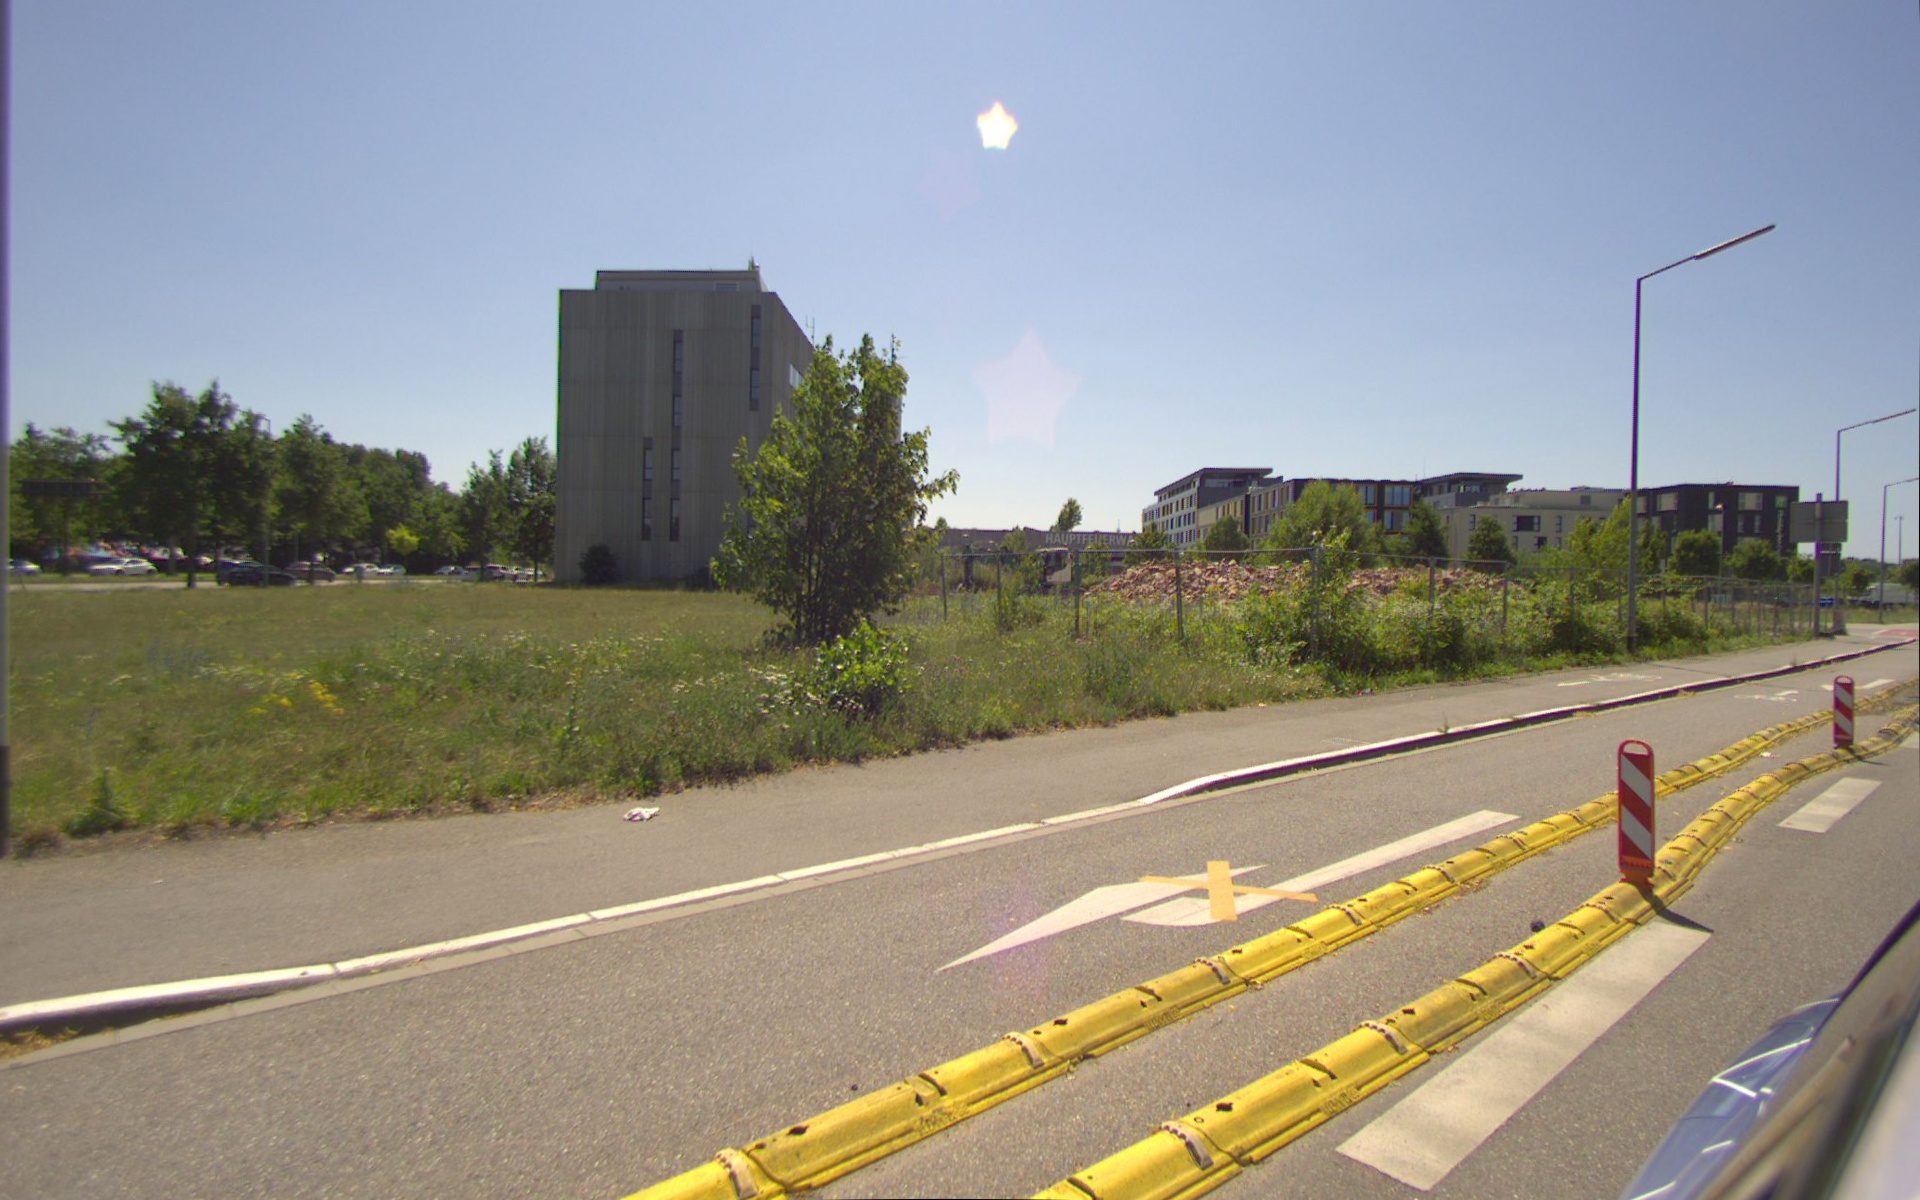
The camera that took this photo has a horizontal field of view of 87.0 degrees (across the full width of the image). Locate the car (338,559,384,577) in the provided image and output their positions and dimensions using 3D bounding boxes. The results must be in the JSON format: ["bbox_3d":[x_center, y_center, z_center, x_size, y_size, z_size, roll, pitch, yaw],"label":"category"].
[{"bbox_3d":[-58.283,-3.121,98.558,1.814,1.612,4.443,0,0,1],"label":"car"}]

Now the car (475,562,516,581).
[{"bbox_3d":[-45.285,-2.734,98.779,1.962,1.757,4.645,0,0,-1],"label":"car"}]

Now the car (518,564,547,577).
[{"bbox_3d":[-56.479,-3.890,133.758,1.814,1.612,4.443,0,0,1],"label":"car"}]

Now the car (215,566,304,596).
[{"bbox_3d":[-42.222,-1.140,61.130,1.964,1.757,4.639,0,0,4],"label":"car"}]

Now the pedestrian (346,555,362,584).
[{"bbox_3d":[-33.957,-1.721,56.709,0.652,1.611,0.557,0,0,-15],"label":"pedestrian"}]

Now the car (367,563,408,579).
[{"bbox_3d":[-61.599,-3.077,108.979,1.814,1.611,4.444,1,1,1],"label":"car"}]

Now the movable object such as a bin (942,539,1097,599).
[{"bbox_3d":[3.169,-1.583,53.322,7.537,2.952,3.242,-1,0,-26],"label":"movable object such as a bin"}]

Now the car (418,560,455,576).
[{"bbox_3d":[-58.840,-3.564,113.720,1.814,1.612,4.443,0,0,1],"label":"car"}]

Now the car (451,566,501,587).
[{"bbox_3d":[-42.298,-2.052,88.603,1.964,1.757,4.639,0,0,4],"label":"car"}]

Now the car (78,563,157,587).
[{"bbox_3d":[-59.073,-1.733,71.054,1.814,1.612,4.443,0,0,1],"label":"car"}]

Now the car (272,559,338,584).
[{"bbox_3d":[-48.195,-2.057,74.565,1.962,1.757,4.645,0,0,-1],"label":"car"}]
